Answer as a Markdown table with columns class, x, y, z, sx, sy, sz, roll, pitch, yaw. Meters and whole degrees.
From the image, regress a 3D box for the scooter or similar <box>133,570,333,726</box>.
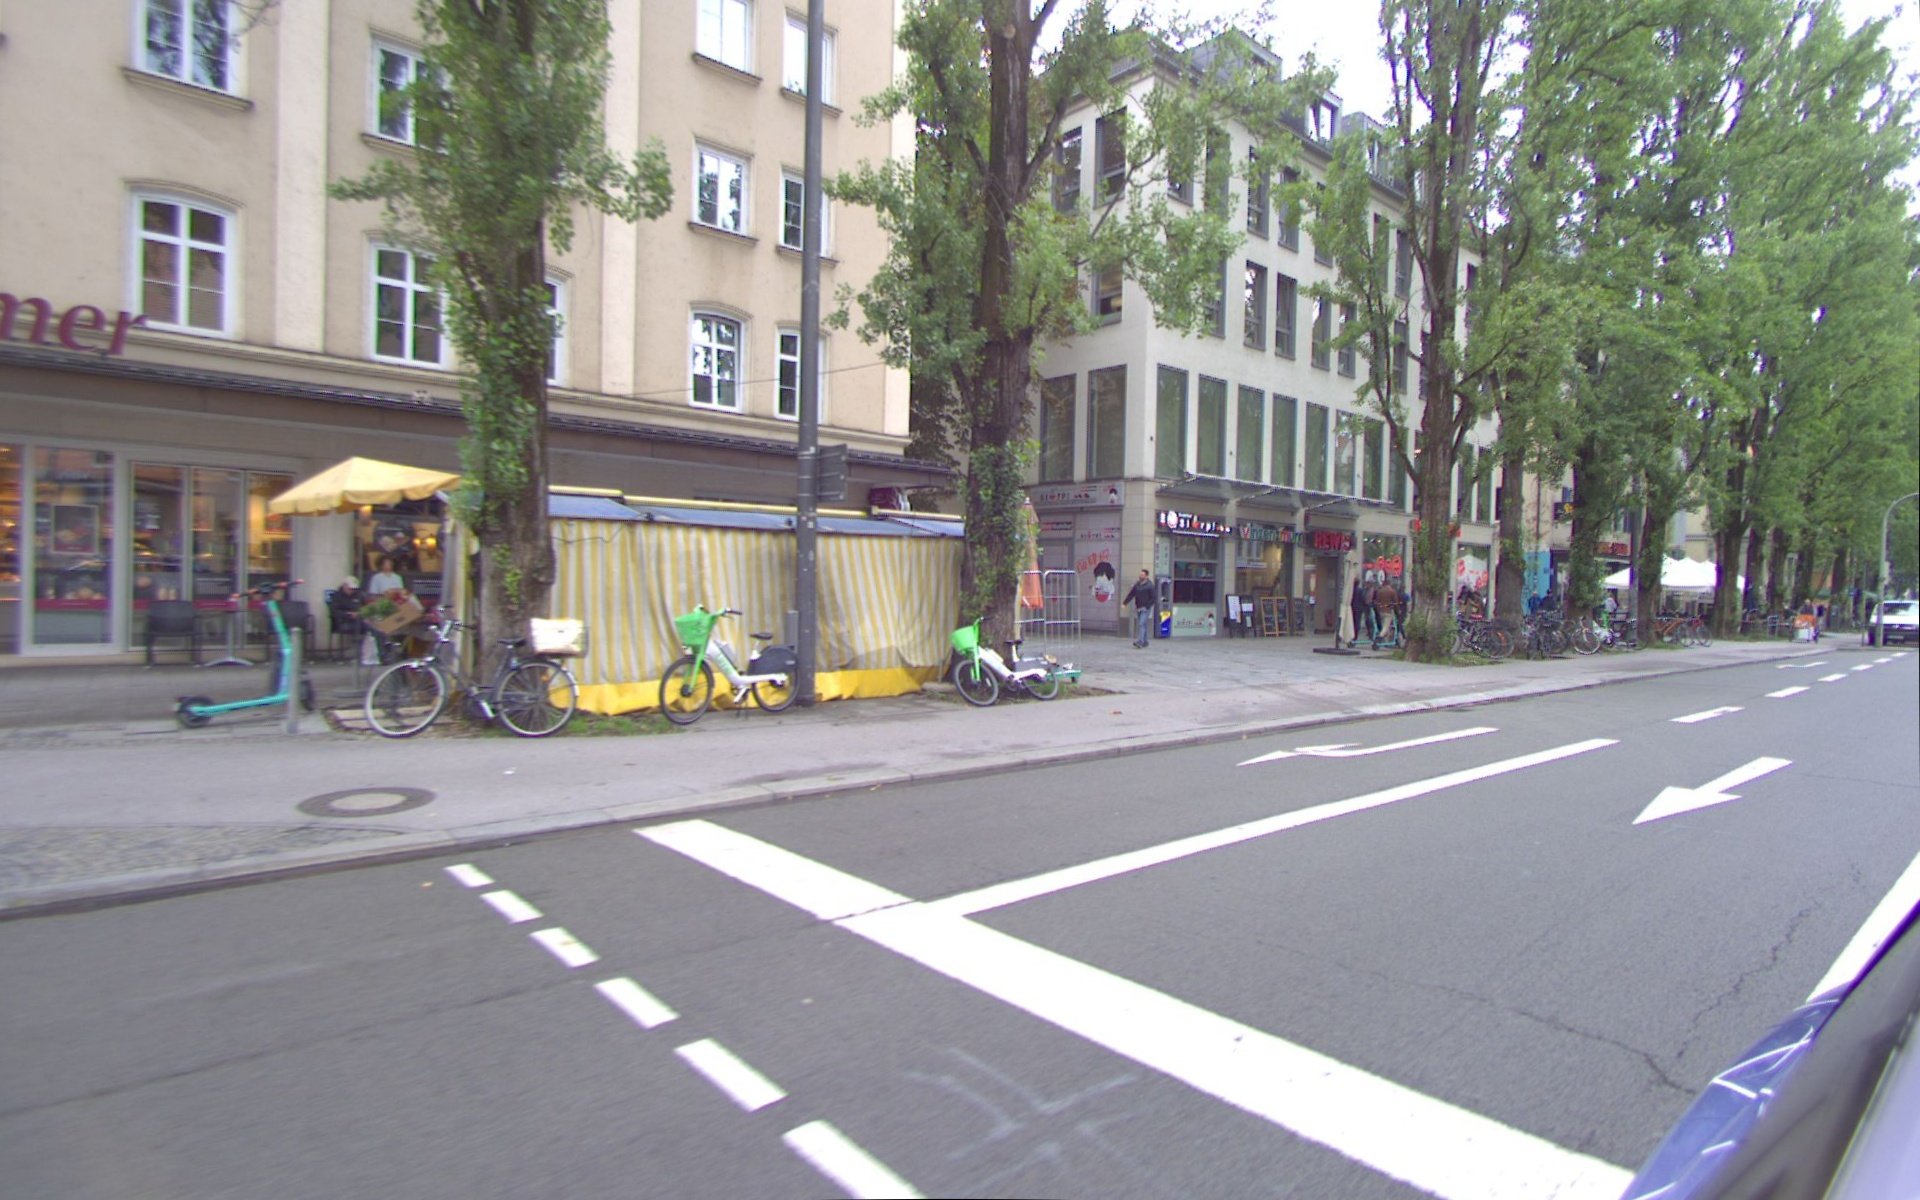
| class | x | y | z | sx | sy | sz | roll | pitch | yaw |
| --- | --- | --- | --- | --- | --- | --- | --- | --- | --- |
| scooter or similar | -6.315 | 0.383 | 8.854 | 0.405 | 1.259 | 1.355 | 2 | 1 | 33 |

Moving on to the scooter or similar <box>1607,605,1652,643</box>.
| class | x | y | z | sx | sy | sz | roll | pitch | yaw |
| --- | --- | --- | --- | --- | --- | --- | --- | --- | --- |
| scooter or similar | 21.361 | 0.757 | 32.276 | 1.221 | 1.184 | 0.286 | 0 | 0 | 1 |

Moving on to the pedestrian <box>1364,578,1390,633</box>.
| class | x | y | z | sx | sy | sz | roll | pitch | yaw |
| --- | --- | --- | --- | --- | --- | --- | --- | --- | --- |
| pedestrian | 13.763 | 0.178 | 33.434 | 0.631 | 1.790 | 0.547 | 1 | 0 | -42 |

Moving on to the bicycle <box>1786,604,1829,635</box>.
| class | x | y | z | sx | sy | sz | roll | pitch | yaw |
| --- | --- | --- | --- | --- | --- | --- | --- | --- | --- |
| bicycle | 40.298 | 0.907 | 48.171 | 0.819 | 1.429 | 2.580 | 1 | 0 | 23 |

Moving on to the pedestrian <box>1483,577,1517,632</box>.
| class | x | y | z | sx | sy | sz | roll | pitch | yaw |
| --- | --- | --- | --- | --- | --- | --- | --- | --- | --- |
| pedestrian | 18.940 | 0.147 | 35.500 | 0.806 | 1.893 | 0.754 | 1 | 1 | -38 |

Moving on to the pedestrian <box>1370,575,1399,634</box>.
| class | x | y | z | sx | sy | sz | roll | pitch | yaw |
| --- | --- | --- | --- | --- | --- | --- | --- | --- | --- |
| pedestrian | 13.271 | 0.139 | 31.619 | 0.662 | 1.807 | 0.566 | 1 | 1 | -40 |

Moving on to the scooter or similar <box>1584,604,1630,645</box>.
| class | x | y | z | sx | sy | sz | roll | pitch | yaw |
| --- | --- | --- | --- | --- | --- | --- | --- | --- | --- |
| scooter or similar | 19.634 | 0.732 | 30.747 | 0.395 | 1.184 | 1.247 | 0 | 1 | -12 |

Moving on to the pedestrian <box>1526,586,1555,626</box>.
| class | x | y | z | sx | sy | sz | roll | pitch | yaw |
| --- | --- | --- | --- | --- | --- | --- | --- | --- | --- |
| pedestrian | 24.342 | 0.246 | 42.420 | 0.998 | 1.624 | 0.764 | 1 | 0 | -41 |

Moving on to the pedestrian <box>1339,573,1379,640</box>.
| class | x | y | z | sx | sy | sz | roll | pitch | yaw |
| --- | --- | --- | --- | --- | --- | --- | --- | --- | --- |
| pedestrian | 11.338 | 0.177 | 28.765 | 0.889 | 1.874 | 0.658 | 1 | 1 | -39 |

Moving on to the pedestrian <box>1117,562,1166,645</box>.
| class | x | y | z | sx | sy | sz | roll | pitch | yaw |
| --- | --- | --- | --- | --- | --- | --- | --- | --- | --- |
| pedestrian | 4.175 | 0.064 | 23.244 | 0.805 | 1.837 | 0.971 | 2 | 1 | 27 |

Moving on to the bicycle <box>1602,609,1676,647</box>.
| class | x | y | z | sx | sy | sz | roll | pitch | yaw |
| --- | --- | --- | --- | --- | --- | --- | --- | --- | --- |
| bicycle | 20.683 | 0.834 | 30.855 | 0.385 | 1.021 | 1.848 | 1 | 2 | -31 |

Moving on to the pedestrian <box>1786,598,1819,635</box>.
| class | x | y | z | sx | sy | sz | roll | pitch | yaw |
| --- | --- | --- | --- | --- | --- | --- | --- | --- | --- |
| pedestrian | 42.049 | 0.806 | 50.529 | 0.819 | 1.788 | 0.945 | 1 | 0 | -3 |

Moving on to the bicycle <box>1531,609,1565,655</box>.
| class | x | y | z | sx | sy | sz | roll | pitch | yaw |
| --- | --- | --- | --- | --- | --- | --- | --- | --- | --- |
| bicycle | 14.671 | 0.778 | 25.224 | 0.433 | 1.074 | 1.977 | 2 | 1 | 38 |

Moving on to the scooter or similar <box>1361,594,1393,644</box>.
| class | x | y | z | sx | sy | sz | roll | pitch | yaw |
| --- | --- | --- | --- | --- | --- | --- | --- | --- | --- |
| scooter or similar | 10.903 | 0.495 | 26.461 | 1.018 | 1.289 | 0.331 | 1 | 1 | -41 |

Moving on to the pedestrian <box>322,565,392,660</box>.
| class | x | y | z | sx | sy | sz | roll | pitch | yaw |
| --- | --- | --- | --- | --- | --- | --- | --- | --- | --- |
| pedestrian | -8.459 | 0.163 | 14.187 | 0.687 | 1.212 | 0.871 | 1 | 5 | -40 |

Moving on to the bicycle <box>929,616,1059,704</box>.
| class | x | y | z | sx | sy | sz | roll | pitch | yaw |
| --- | --- | --- | --- | --- | --- | --- | --- | --- | --- |
| bicycle | 0.457 | 0.730 | 12.919 | 1.740 | 0.986 | 0.509 | 0 | 6 | -43 |

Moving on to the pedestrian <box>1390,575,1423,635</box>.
| class | x | y | z | sx | sy | sz | roll | pitch | yaw |
| --- | --- | --- | --- | --- | --- | --- | --- | --- | --- |
| pedestrian | 13.706 | 0.153 | 31.048 | 0.662 | 1.807 | 0.658 | 1 | 1 | -40 |

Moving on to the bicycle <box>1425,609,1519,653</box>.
| class | x | y | z | sx | sy | sz | roll | pitch | yaw |
| --- | --- | --- | --- | --- | --- | --- | --- | --- | --- |
| bicycle | 12.369 | 0.737 | 24.480 | 1.991 | 0.957 | 0.282 | 2 | 1 | 34 |

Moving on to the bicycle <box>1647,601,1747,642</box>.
| class | x | y | z | sx | sy | sz | roll | pitch | yaw |
| --- | --- | --- | --- | --- | --- | --- | --- | --- | --- |
| bicycle | 25.066 | 0.704 | 34.471 | 0.948 | 1.230 | 2.576 | 1 | 2 | -40 |

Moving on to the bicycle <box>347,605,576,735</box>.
| class | x | y | z | sx | sy | sz | roll | pitch | yaw |
| --- | --- | --- | --- | --- | --- | --- | --- | --- | --- |
| bicycle | -4.367 | 0.593 | 8.974 | 1.774 | 1.084 | 0.406 | 0 | -4 | -25 |

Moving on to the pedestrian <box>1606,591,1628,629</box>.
| class | x | y | z | sx | sy | sz | roll | pitch | yaw |
| --- | --- | --- | --- | --- | --- | --- | --- | --- | --- |
| pedestrian | 29.375 | 0.435 | 45.251 | 0.680 | 1.685 | 0.667 | 1 | 0 | -42 |

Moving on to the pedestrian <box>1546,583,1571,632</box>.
| class | x | y | z | sx | sy | sz | roll | pitch | yaw |
| --- | --- | --- | --- | --- | --- | --- | --- | --- | --- |
| pedestrian | 22.101 | 0.268 | 37.384 | 0.684 | 1.764 | 0.566 | 1 | 0 | -38 |

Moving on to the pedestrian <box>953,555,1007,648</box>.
| class | x | y | z | sx | sy | sz | roll | pitch | yaw |
| --- | --- | --- | --- | --- | --- | --- | --- | --- | --- |
| pedestrian | 0.398 | 0.020 | 20.496 | 0.742 | 1.837 | 0.745 | 1 | 1 | -37 |

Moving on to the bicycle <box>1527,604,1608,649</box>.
| class | x | y | z | sx | sy | sz | roll | pitch | yaw |
| --- | --- | --- | --- | --- | --- | --- | --- | --- | --- |
| bicycle | 16.727 | 0.713 | 27.889 | 1.864 | 1.149 | 0.335 | 3 | 1 | 42 |

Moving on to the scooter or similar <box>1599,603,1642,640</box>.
| class | x | y | z | sx | sy | sz | roll | pitch | yaw |
| --- | --- | --- | --- | --- | --- | --- | --- | --- | --- |
| scooter or similar | 21.343 | 0.683 | 32.709 | 1.220 | 1.184 | 0.307 | 0 | 0 | -2 |

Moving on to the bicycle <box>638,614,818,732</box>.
| class | x | y | z | sx | sy | sz | roll | pitch | yaw |
| --- | --- | --- | --- | --- | --- | --- | --- | --- | --- |
| bicycle | -2.300 | 0.692 | 10.197 | 1.740 | 1.061 | 0.509 | 0 | 1 | -43 |

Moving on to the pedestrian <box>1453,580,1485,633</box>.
| class | x | y | z | sx | sy | sz | roll | pitch | yaw |
| --- | --- | --- | --- | --- | --- | --- | --- | --- | --- |
| pedestrian | 18.420 | 0.244 | 36.595 | 0.806 | 1.877 | 0.753 | 1 | 0 | -40 |

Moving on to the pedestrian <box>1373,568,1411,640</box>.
| class | x | y | z | sx | sy | sz | roll | pitch | yaw |
| --- | --- | --- | --- | --- | --- | --- | --- | --- | --- |
| pedestrian | 12.083 | 0.107 | 28.297 | 0.709 | 1.995 | 0.658 | 2 | 1 | -38 |

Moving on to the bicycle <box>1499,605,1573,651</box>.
| class | x | y | z | sx | sy | sz | roll | pitch | yaw |
| --- | --- | --- | --- | --- | --- | --- | --- | --- | --- |
| bicycle | 15.446 | 0.747 | 27.148 | 1.669 | 1.131 | 0.282 | 3 | 1 | 38 |

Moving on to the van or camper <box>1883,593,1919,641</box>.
| class | x | y | z | sx | sy | sz | roll | pitch | yaw |
| --- | --- | --- | --- | --- | --- | --- | --- | --- | --- |
| van or camper | 40.624 | 0.712 | 42.810 | 4.485 | 1.929 | 1.794 | 1 | 1 | -41 |

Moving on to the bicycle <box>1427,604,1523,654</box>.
| class | x | y | z | sx | sy | sz | roll | pitch | yaw |
| --- | --- | --- | --- | --- | --- | --- | --- | --- | --- |
| bicycle | 12.268 | 0.676 | 24.148 | 1.991 | 1.096 | 0.282 | 2 | 1 | 34 |

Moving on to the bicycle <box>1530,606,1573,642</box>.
| class | x | y | z | sx | sy | sz | roll | pitch | yaw |
| --- | --- | --- | --- | --- | --- | --- | --- | --- | --- |
| bicycle | 18.317 | 0.735 | 31.339 | 1.968 | 1.076 | 0.393 | 1 | 2 | -38 |

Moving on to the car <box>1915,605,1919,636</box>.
| class | x | y | z | sx | sy | sz | roll | pitch | yaw |
| --- | --- | --- | --- | --- | --- | --- | --- | --- | --- |
| car | 44.788 | 0.958 | 46.094 | 3.421 | 1.414 | 1.475 | 1 | 1 | -41 |

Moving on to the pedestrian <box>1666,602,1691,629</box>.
| class | x | y | z | sx | sy | sz | roll | pitch | yaw |
| --- | --- | --- | --- | --- | --- | --- | --- | --- | --- |
| pedestrian | 33.645 | 0.721 | 47.395 | 1.004 | 1.231 | 0.668 | 1 | 0 | -38 |

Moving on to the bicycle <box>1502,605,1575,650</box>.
| class | x | y | z | sx | sy | sz | roll | pitch | yaw |
| --- | --- | --- | --- | --- | --- | --- | --- | --- | --- |
| bicycle | 15.682 | 0.742 | 27.455 | 1.657 | 1.121 | 0.391 | 3 | 1 | 39 |

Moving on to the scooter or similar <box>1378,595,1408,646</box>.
| class | x | y | z | sx | sy | sz | roll | pitch | yaw |
| --- | --- | --- | --- | --- | --- | --- | --- | --- | --- |
| scooter or similar | 11.196 | 0.532 | 26.163 | 1.018 | 1.289 | 0.247 | 1 | 1 | -41 |

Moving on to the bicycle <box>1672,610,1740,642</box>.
| class | x | y | z | sx | sy | sz | roll | pitch | yaw |
| --- | --- | --- | --- | --- | --- | --- | --- | --- | --- |
| bicycle | 26.461 | 0.913 | 35.908 | 0.494 | 1.022 | 1.843 | 1 | 1 | -40 |

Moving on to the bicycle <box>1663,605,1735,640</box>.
| class | x | y | z | sx | sy | sz | roll | pitch | yaw |
| --- | --- | --- | --- | --- | --- | --- | --- | --- | --- |
| bicycle | 25.783 | 0.774 | 35.324 | 0.674 | 1.141 | 1.901 | 0 | 1 | -40 |
